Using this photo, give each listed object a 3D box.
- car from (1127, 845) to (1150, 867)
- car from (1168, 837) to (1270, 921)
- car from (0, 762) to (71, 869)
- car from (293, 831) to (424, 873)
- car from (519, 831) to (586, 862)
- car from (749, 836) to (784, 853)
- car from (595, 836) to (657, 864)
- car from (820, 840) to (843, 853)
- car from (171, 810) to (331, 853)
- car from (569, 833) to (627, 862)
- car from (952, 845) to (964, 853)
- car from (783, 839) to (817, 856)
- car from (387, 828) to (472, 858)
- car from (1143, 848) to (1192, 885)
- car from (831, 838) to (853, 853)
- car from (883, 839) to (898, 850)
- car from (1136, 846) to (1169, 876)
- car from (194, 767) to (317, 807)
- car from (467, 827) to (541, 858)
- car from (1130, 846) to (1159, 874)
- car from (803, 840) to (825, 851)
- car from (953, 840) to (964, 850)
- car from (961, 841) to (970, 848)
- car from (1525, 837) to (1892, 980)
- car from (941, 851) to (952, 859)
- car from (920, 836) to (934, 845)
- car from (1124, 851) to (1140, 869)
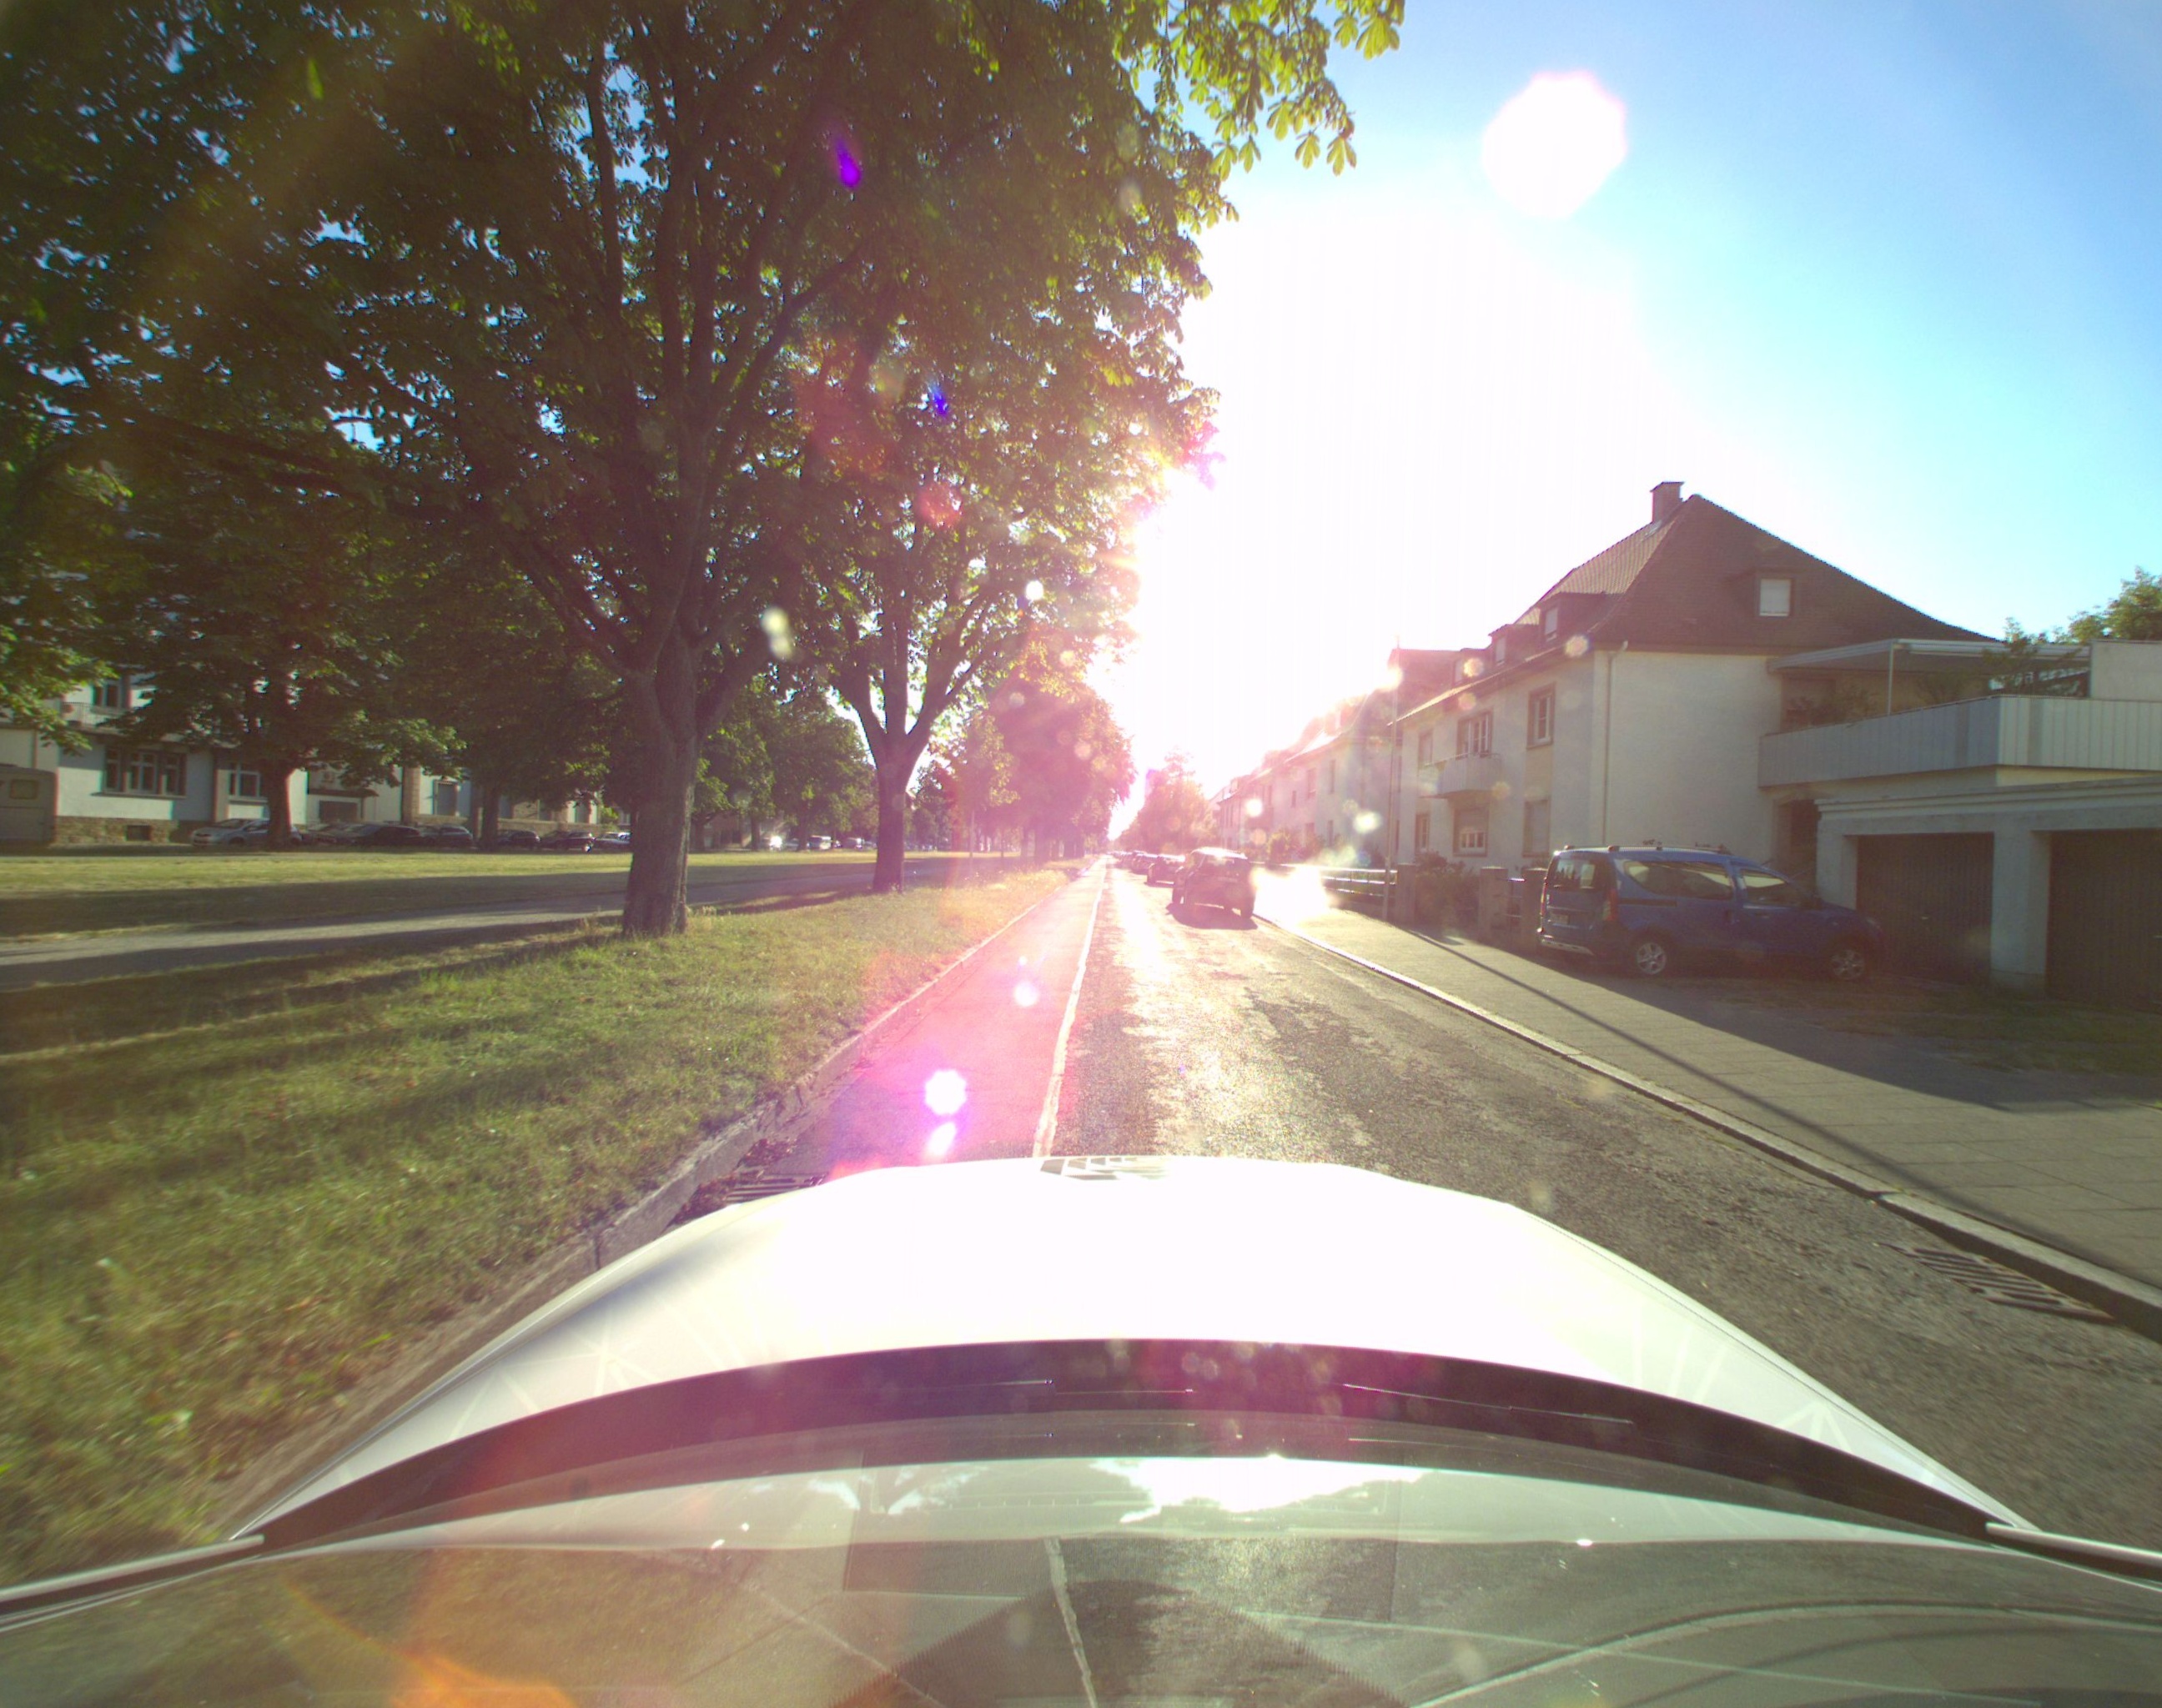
[{"bbox_3d":[5.637,0.184,80.216,1.987,2.013,4.000,4,-1,1],"label":"car"},{"bbox_3d":[3.710,0.597,22.710,1.987,1.903,4.390,6,1,1],"label":"car"},{"bbox_3d":[-32.977,-1.204,21.514,2.383,3.130,7.857,5,0,2],"label":"car"},{"bbox_3d":[-32.730,-0.070,37.102,1.872,1.674,4.317,4,0,2],"label":"car"},{"bbox_3d":[-37.724,-0.484,58.264,1.987,2.013,3.999,4,-1,0],"label":"car"},{"bbox_3d":[-36.026,-1.037,93.349,1.985,1.659,4.358,4,-1,3],"label":"car"},{"bbox_3d":[-31.968,-0.260,57.334,1.804,1.781,4.124,4,-1,3],"label":"car"},{"bbox_3d":[-35.886,-1.093,117.228,1.987,1.618,3.999,4,-1,0],"label":"car"},{"bbox_3d":[-38.367,-0.972,37.895,1.987,1.689,5.158,4,0,0],"label":"car"},{"bbox_3d":[-37.592,-0.475,63.461,1.987,2.013,3.999,4,-1,0],"label":"car"},{"bbox_3d":[-27.312,-1.112,180.643,1.986,1.733,4.002,2,0,2],"label":"car"},{"bbox_3d":[-30.299,-0.685,88.002,2.015,1.659,3.986,4,-1,2],"label":"car"},{"bbox_3d":[-37.823,-0.638,47.376,1.752,1.583,3.792,4,1,1],"label":"car"},{"bbox_3d":[4.187,0.597,40.161,1.987,1.653,4.000,2,-1,1],"label":"car"},{"bbox_3d":[-31.493,-1.128,107.386,1.722,1.689,3.878,4,-2,0],"label":"car"},{"bbox_3d":[-33.663,-1.595,144.115,1.723,1.762,3.347,4,-1,2],"label":"car"},{"bbox_3d":[5.253,0.545,60.396,1.987,2.013,4.000,4,-1,1],"label":"car"},{"bbox_3d":[-44.995,-3.610,44.529,1.985,1.659,4.378,4,-1,3],"label":"car"},{"bbox_3d":[-37.655,-0.717,53.282,1.858,1.803,3.917,4,-1,2],"label":"car"},{"bbox_3d":[5.111,0.502,66.053,1.987,2.013,4.000,4,-1,1],"label":"car"},{"bbox_3d":[-35.886,-1.107,109.589,1.677,1.342,3.472,4,-1,2],"label":"car"},{"bbox_3d":[-26.191,-1.927,174.108,1.648,1.938,3.567,4,-2,1],"label":"car"},{"bbox_3d":[-33.259,-2.711,234.444,1.986,2.013,4.002,2,0,2],"label":"car"},{"bbox_3d":[8.872,0.809,11.767,3.977,1.823,1.757,2,-5,-3],"label":"car"},{"bbox_3d":[-32.432,0.260,196.123,1.872,1.752,3.798,4,-1,2],"label":"car"},{"bbox_3d":[-34.163,-2.967,180.718,1.986,1.913,4.001,4,-1,2],"label":"car"},{"bbox_3d":[6.250,0.708,99.402,1.685,2.013,3.626,4,-1,2],"label":"car"}]
